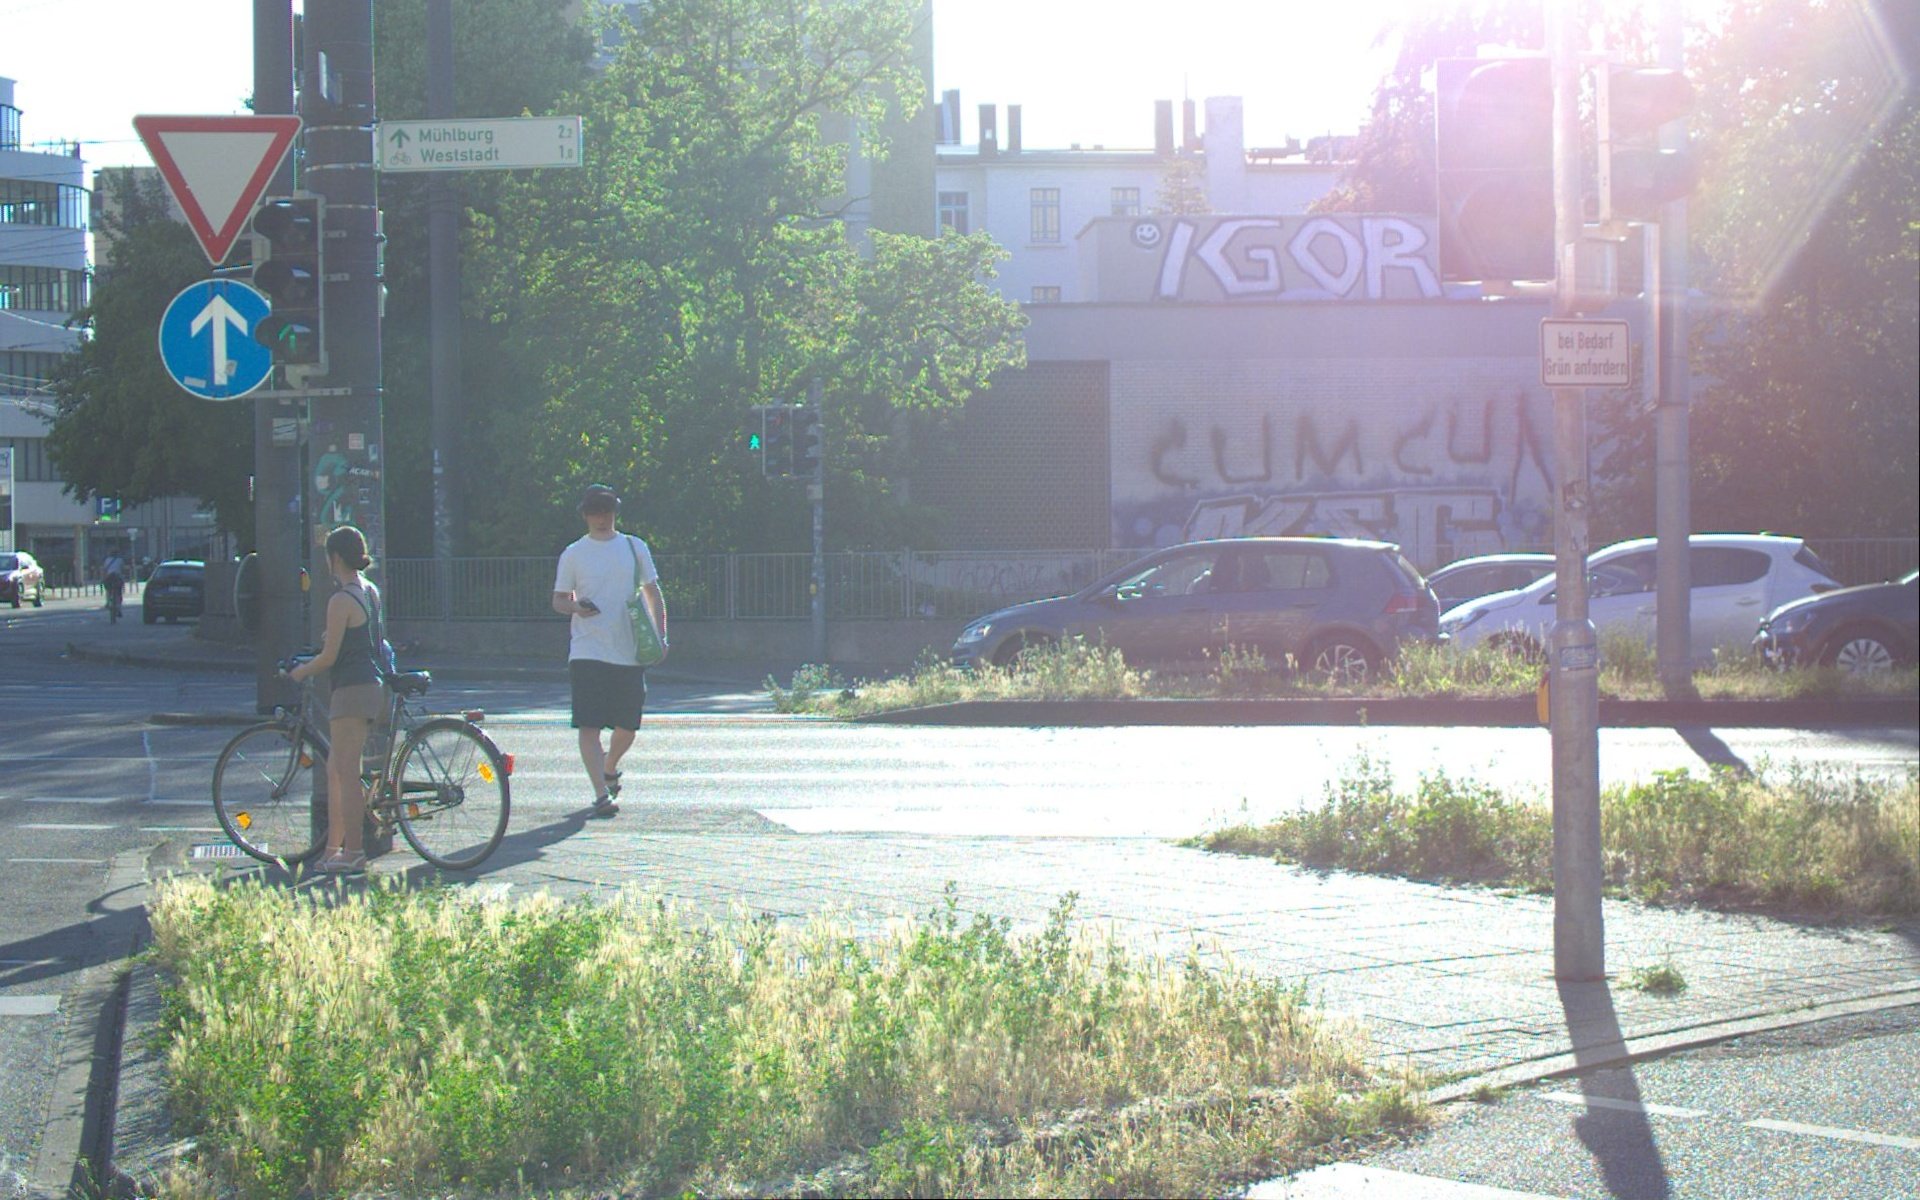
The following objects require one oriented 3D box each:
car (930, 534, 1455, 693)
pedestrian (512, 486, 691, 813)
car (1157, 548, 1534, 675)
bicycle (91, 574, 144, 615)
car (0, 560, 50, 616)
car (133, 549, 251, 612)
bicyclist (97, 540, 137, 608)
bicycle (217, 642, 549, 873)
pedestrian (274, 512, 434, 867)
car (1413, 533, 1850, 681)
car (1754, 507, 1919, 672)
[{"bbox_3d":[2.012,0.111,29.416,4.237,1.292,1.723,0,1,14],"label":"car"},{"bbox_3d":[-2.021,0.266,19.319,0.908,1.783,0.827,-1,1,-11],"label":"pedestrian"},{"bbox_3d":[4.137,0.115,36.662,3.883,1.292,1.724,-1,1,10],"label":"car"},{"bbox_3d":[-18.857,-0.122,76.955,0.695,0.874,2.027,-1,1,0],"label":"bicycle"},{"bbox_3d":[-28.214,-0.362,101.132,1.815,1.609,4.466,-1,1,-2],"label":"car"},{"bbox_3d":[-17.504,-0.463,78.488,1.785,1.383,4.000,-1,1,0],"label":"car"},{"bbox_3d":[-18.875,-0.583,76.967,0.673,1.517,0.813,-1,1,0],"label":"bicyclist"},{"bbox_3d":[-2.724,0.720,16.149,1.669,1.025,0.399,0,1,31],"label":"bicycle"},{"bbox_3d":[-2.835,0.406,16.097,0.525,1.626,0.488,0,1,31],"label":"pedestrian"},{"bbox_3d":[6.227,0.055,32.059,3.883,1.315,1.724,-1,1,10],"label":"car"},{"bbox_3d":[8.651,-0.105,27.682,4.365,1.292,1.723,0,1,12],"label":"car"}]
